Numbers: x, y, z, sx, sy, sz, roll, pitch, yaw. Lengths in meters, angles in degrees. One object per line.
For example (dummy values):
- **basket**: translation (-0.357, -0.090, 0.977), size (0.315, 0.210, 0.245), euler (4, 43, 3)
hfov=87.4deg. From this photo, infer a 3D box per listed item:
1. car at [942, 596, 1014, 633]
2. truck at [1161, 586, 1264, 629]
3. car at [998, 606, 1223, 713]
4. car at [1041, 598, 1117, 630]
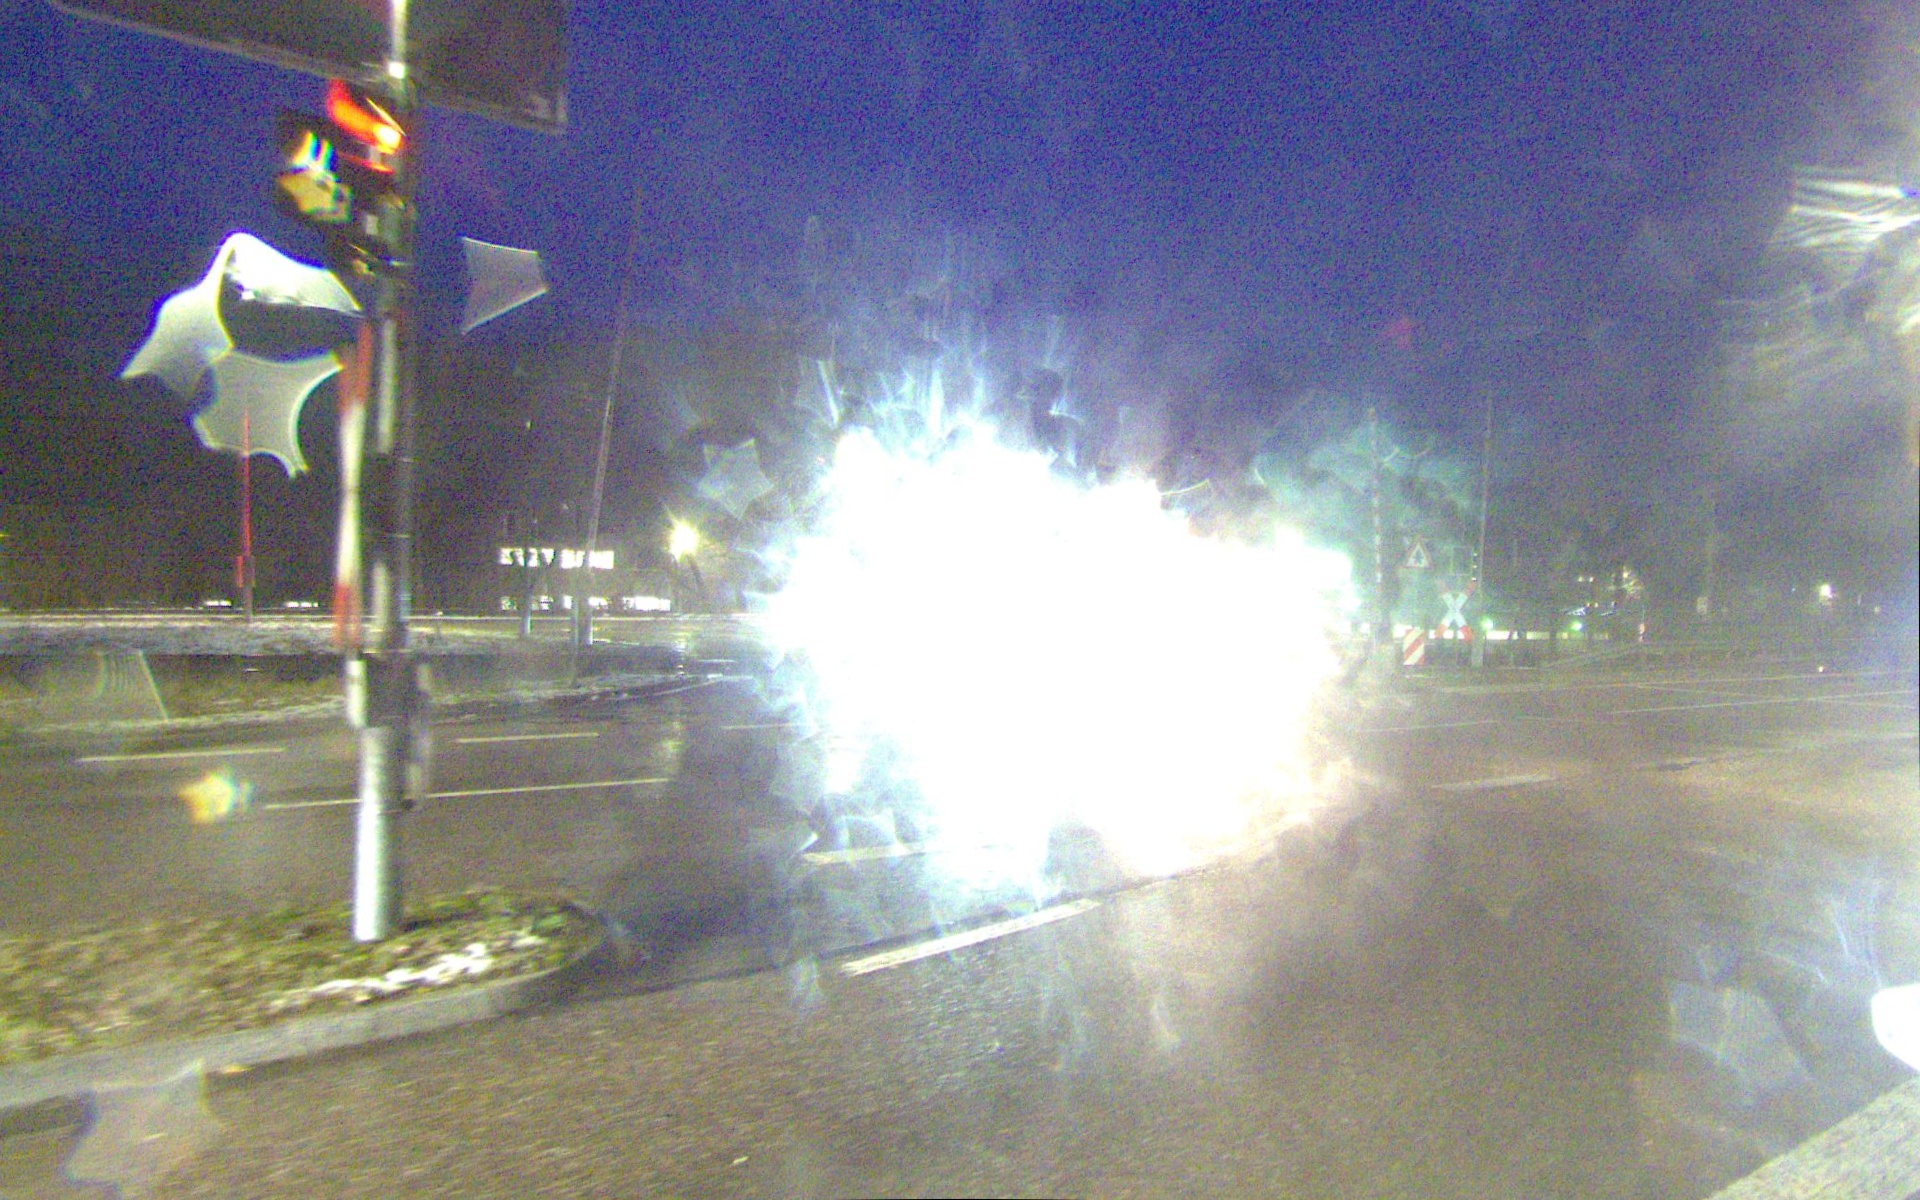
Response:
- **car**: translation (0.869, 0.660, 45.885), size (1.695, 1.539, 3.995), euler (2, 0, 27)
- **truck**: translation (14.569, 0.442, 57.786), size (5.946, 2.302, 1.985), euler (2, 0, -28)
- **car**: translation (2.427, 0.920, 17.317), size (1.498, 1.538, 4.340), euler (2, 0, -29)
- **car**: translation (6.224, 0.739, 52.337), size (3.968, 1.539, 1.706), euler (2, 0, -41)
